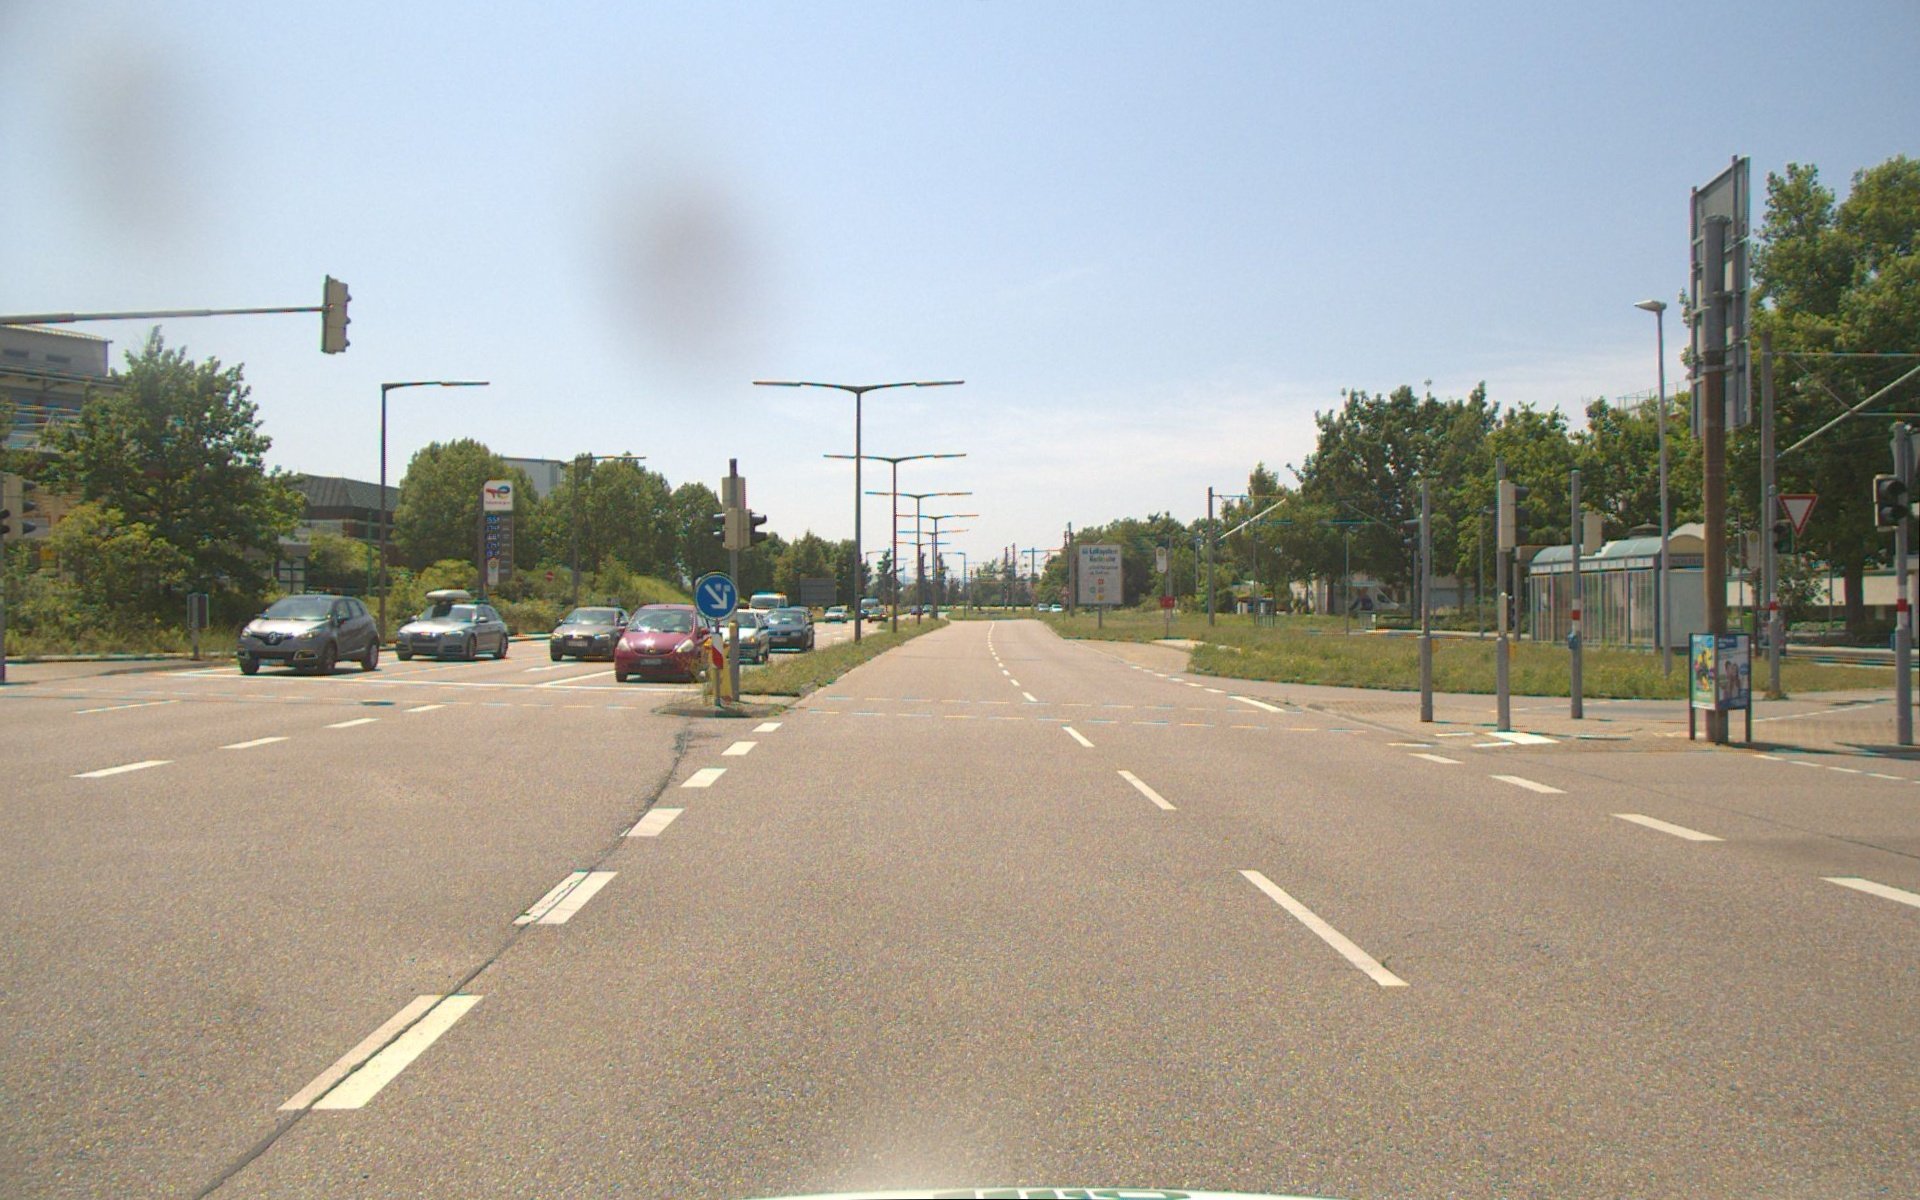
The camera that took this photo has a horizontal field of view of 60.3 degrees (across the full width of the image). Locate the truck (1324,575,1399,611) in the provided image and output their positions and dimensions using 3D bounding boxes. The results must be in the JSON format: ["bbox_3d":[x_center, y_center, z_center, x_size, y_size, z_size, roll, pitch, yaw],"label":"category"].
[{"bbox_3d":[34.280,-0.589,141.423,5.730,2.893,2.316,-2,-1,-8],"label":"truck"}]

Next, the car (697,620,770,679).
[{"bbox_3d":[-6.068,1.309,44.646,1.529,1.448,3.853,1,0,-2],"label":"car"}]

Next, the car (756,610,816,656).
[{"bbox_3d":[-5.792,1.091,55.480,1.642,1.459,4.190,1,0,-1],"label":"car"}]

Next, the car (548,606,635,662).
[{"bbox_3d":[-9.968,0.889,44.973,1.564,1.409,4.002,1,0,-2],"label":"car"}]

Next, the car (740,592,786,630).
[{"bbox_3d":[-12.538,0.731,105.684,2.203,2.313,5.449,1,-1,1],"label":"car"}]

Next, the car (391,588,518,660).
[{"bbox_3d":[-13.212,0.612,43.557,1.925,1.781,5.020,0,0,-2],"label":"car"}]

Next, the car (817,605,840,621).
[{"bbox_3d":[-12.215,1.197,153.624,1.794,1.474,4.850,0,0,-1],"label":"car"}]

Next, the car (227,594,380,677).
[{"bbox_3d":[-13.423,0.695,34.037,1.625,1.566,3.999,1,0,-2],"label":"car"}]

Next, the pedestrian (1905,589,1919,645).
[{"bbox_3d":[28.206,0.499,48.550,0.540,1.636,0.690,1,-1,1],"label":"pedestrian"}]

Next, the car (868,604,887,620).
[{"bbox_3d":[-7.954,1.157,159.902,1.696,1.483,4.563,0,0,-1],"label":"car"}]

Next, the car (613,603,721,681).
[{"bbox_3d":[-6.001,0.817,34.227,1.625,1.516,3.999,0,0,-2],"label":"car"}]
